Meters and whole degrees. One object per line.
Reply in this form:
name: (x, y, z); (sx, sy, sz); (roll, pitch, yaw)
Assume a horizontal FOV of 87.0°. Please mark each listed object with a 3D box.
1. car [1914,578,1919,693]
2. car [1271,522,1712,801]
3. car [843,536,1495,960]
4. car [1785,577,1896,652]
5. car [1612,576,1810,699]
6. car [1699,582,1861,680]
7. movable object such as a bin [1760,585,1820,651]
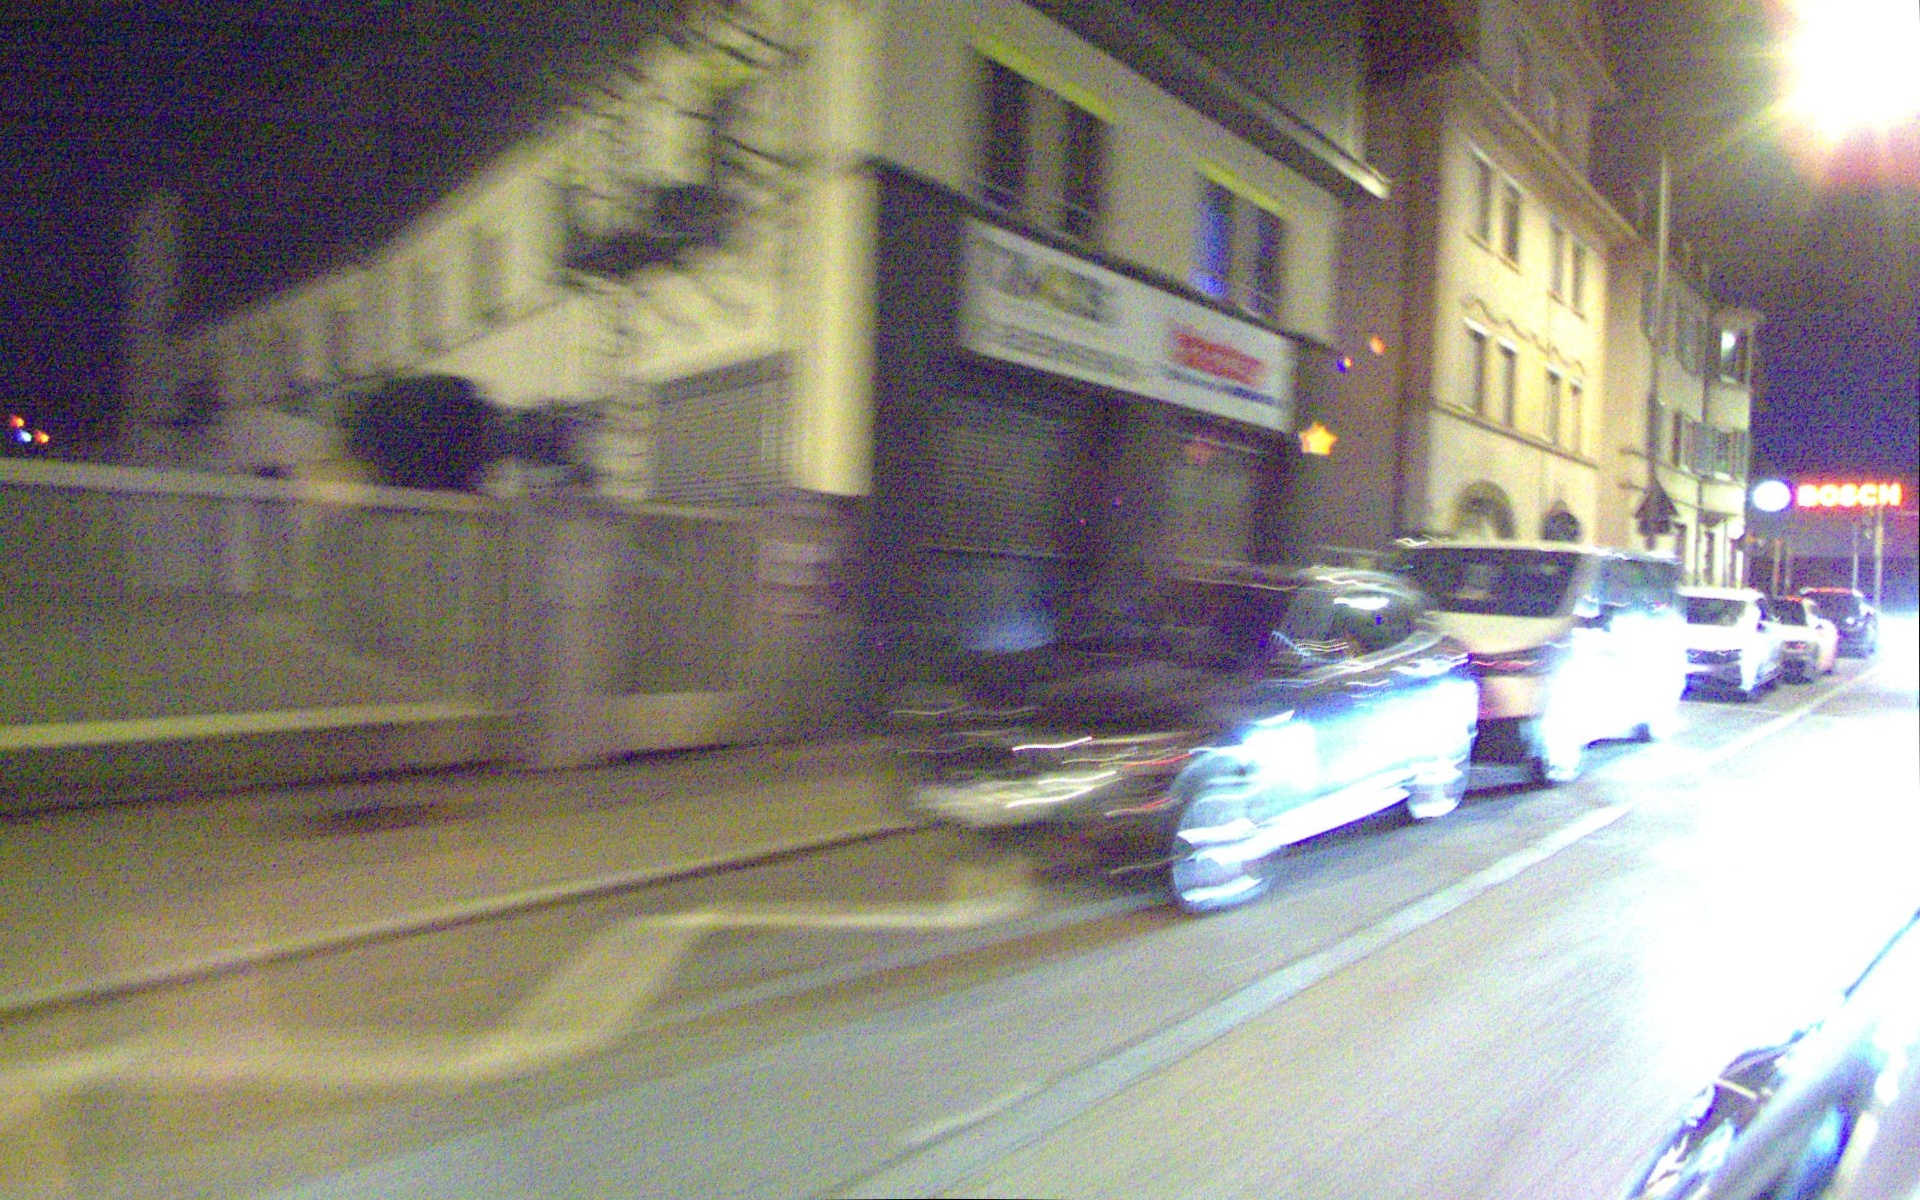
car: (15.695, 0.536, 14.873); (3.930, 1.636, 1.998); (0, 2, -41)
car: (5.290, 0.334, 9.649); (5.281, 1.951, 2.075); (-1, 4, -43)
car: (1.512, 0.512, 6.086); (1.821, 1.618, 4.153); (6, 5, 44)
car: (22.769, 0.294, 26.123); (4.188, 1.703, 1.746); (-1, 4, -44)
car: (11.701, 0.456, 15.661); (4.141, 1.584, 1.746); (-1, 4, -44)
car: (15.525, 0.476, 19.063); (4.754, 1.527, 1.746); (-1, 4, -44)
movable object such as a bin: (19.518, 0.394, 23.787); (0.937, 1.449, 1.317); (4, 4, 44)
